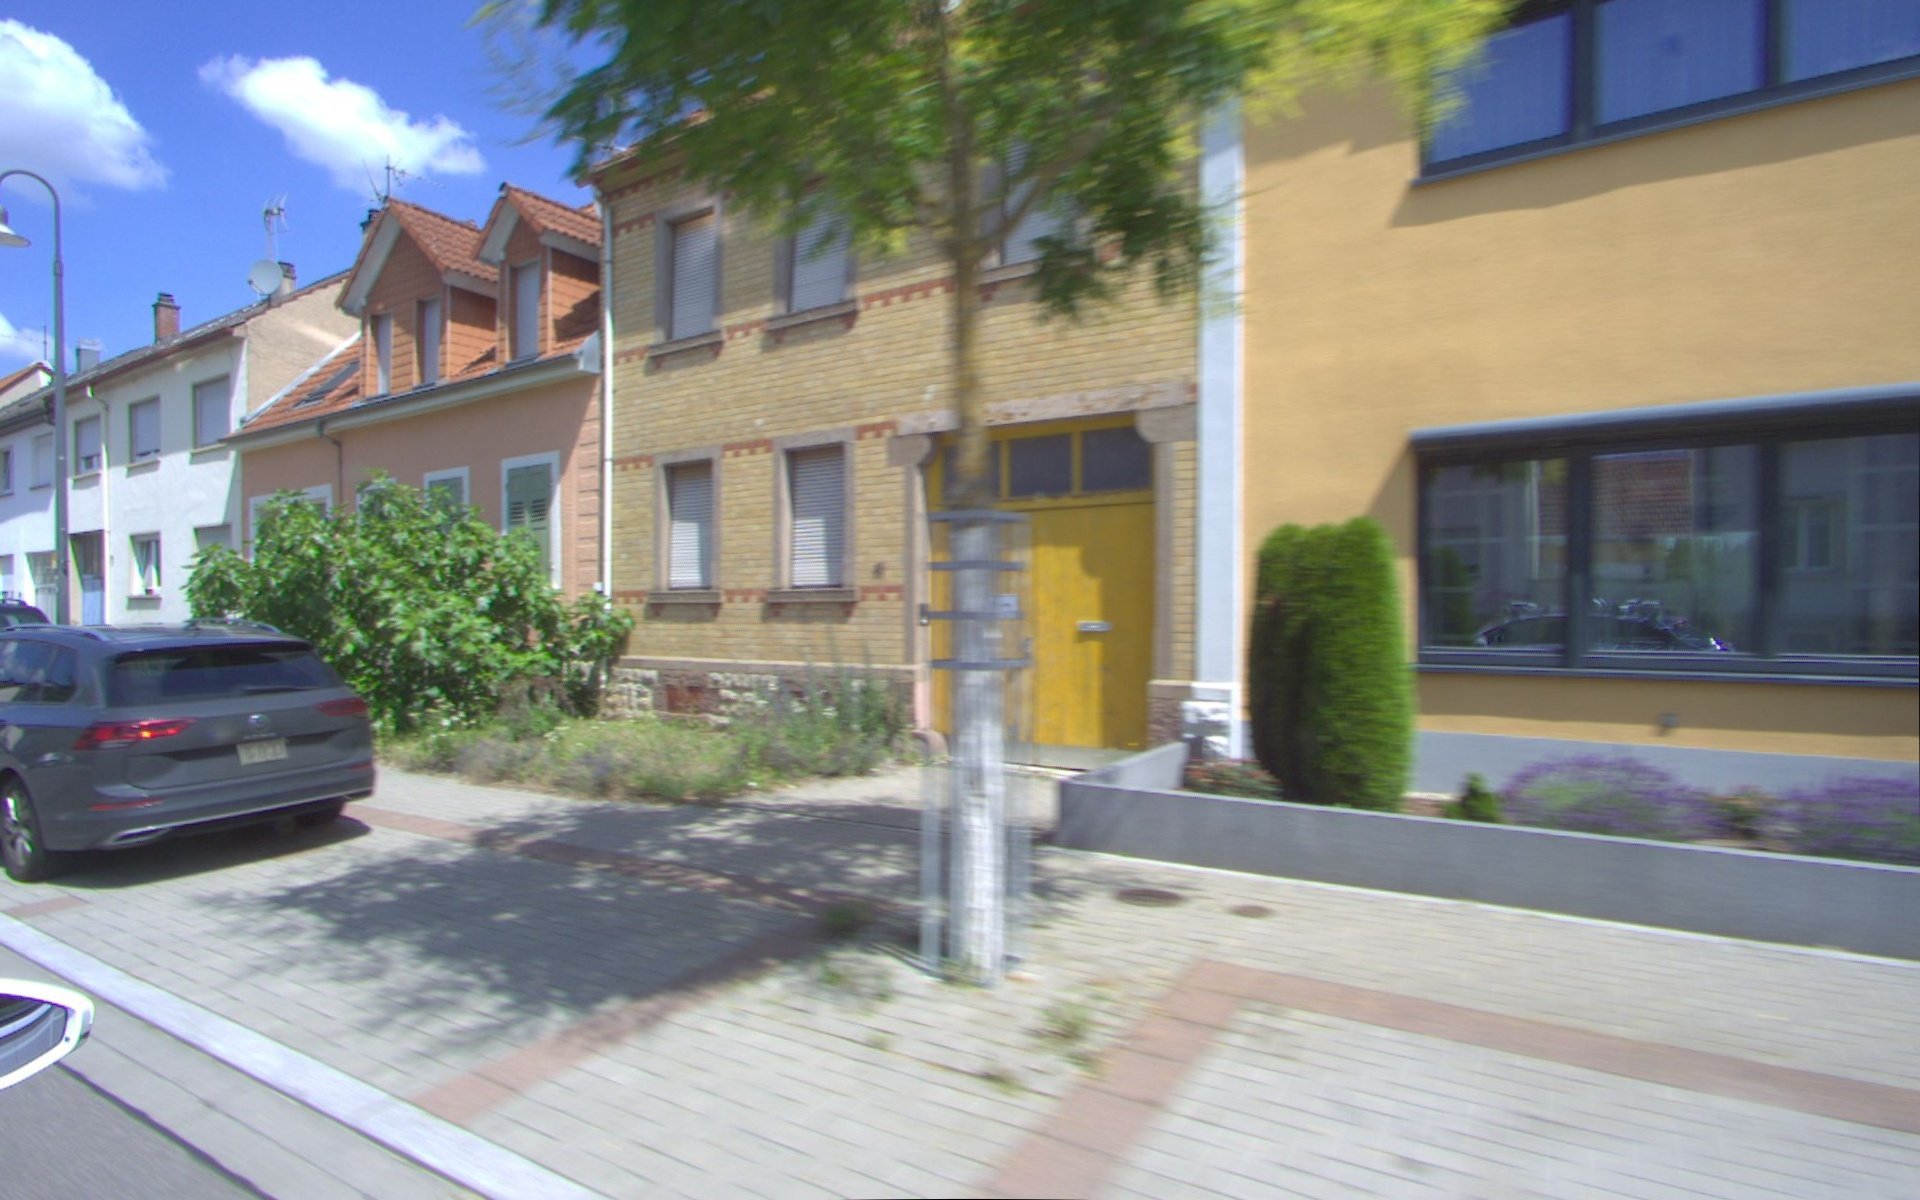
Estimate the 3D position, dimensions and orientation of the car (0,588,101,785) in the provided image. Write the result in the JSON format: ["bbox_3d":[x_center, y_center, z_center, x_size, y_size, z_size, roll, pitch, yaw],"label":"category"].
[{"bbox_3d":[-10.294,0.785,9.802,4.264,1.727,1.763,-1,0,33],"label":"car"}]

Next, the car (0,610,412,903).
[{"bbox_3d":[-5.907,0.838,7.019,4.234,1.508,1.764,-1,0,31],"label":"car"}]
